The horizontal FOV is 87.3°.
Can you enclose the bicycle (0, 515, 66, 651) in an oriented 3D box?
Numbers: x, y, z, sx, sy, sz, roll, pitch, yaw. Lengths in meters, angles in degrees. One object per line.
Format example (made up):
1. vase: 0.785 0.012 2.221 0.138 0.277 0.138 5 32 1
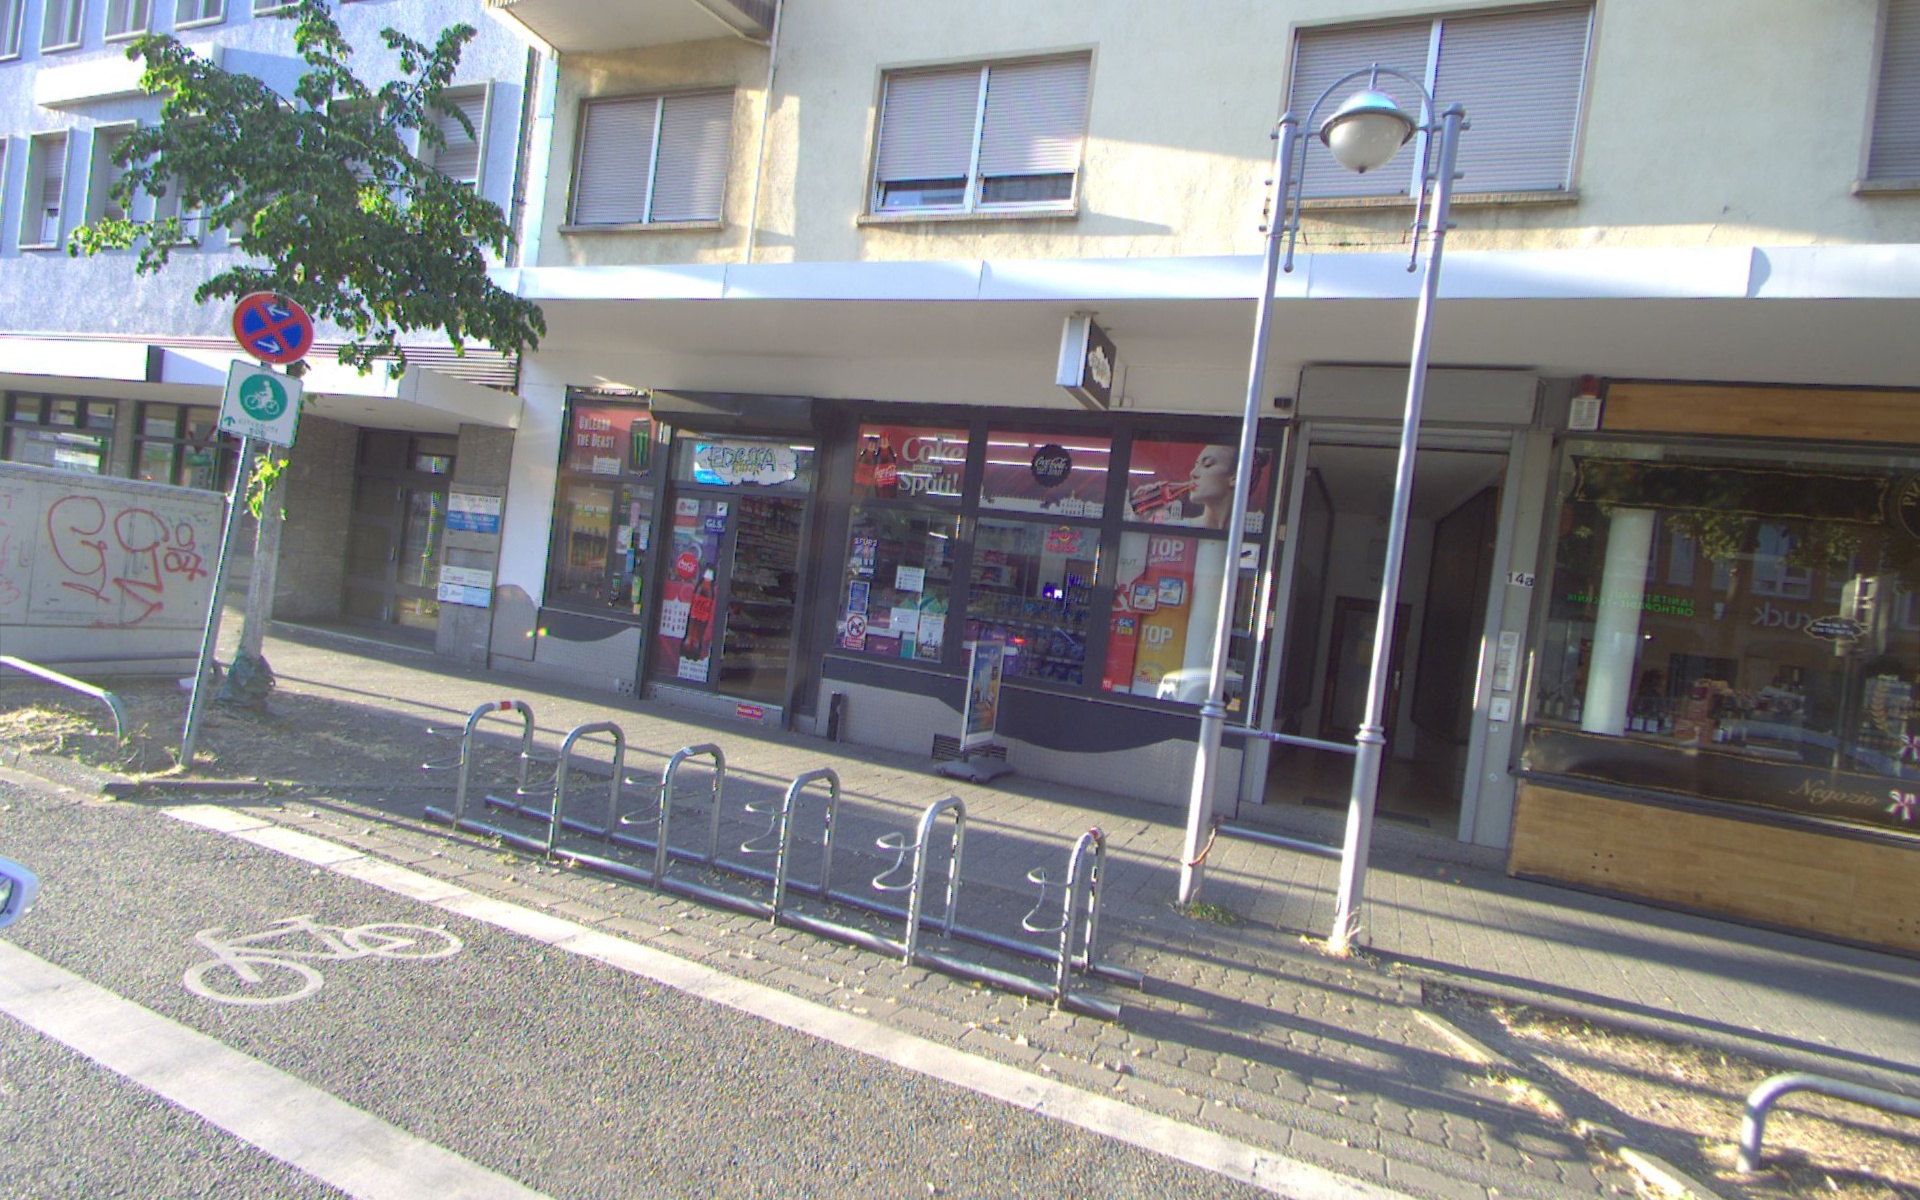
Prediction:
1. bicycle: -9.186 -0.206 9.142 0.376 1.234 1.446 7 -1 25
